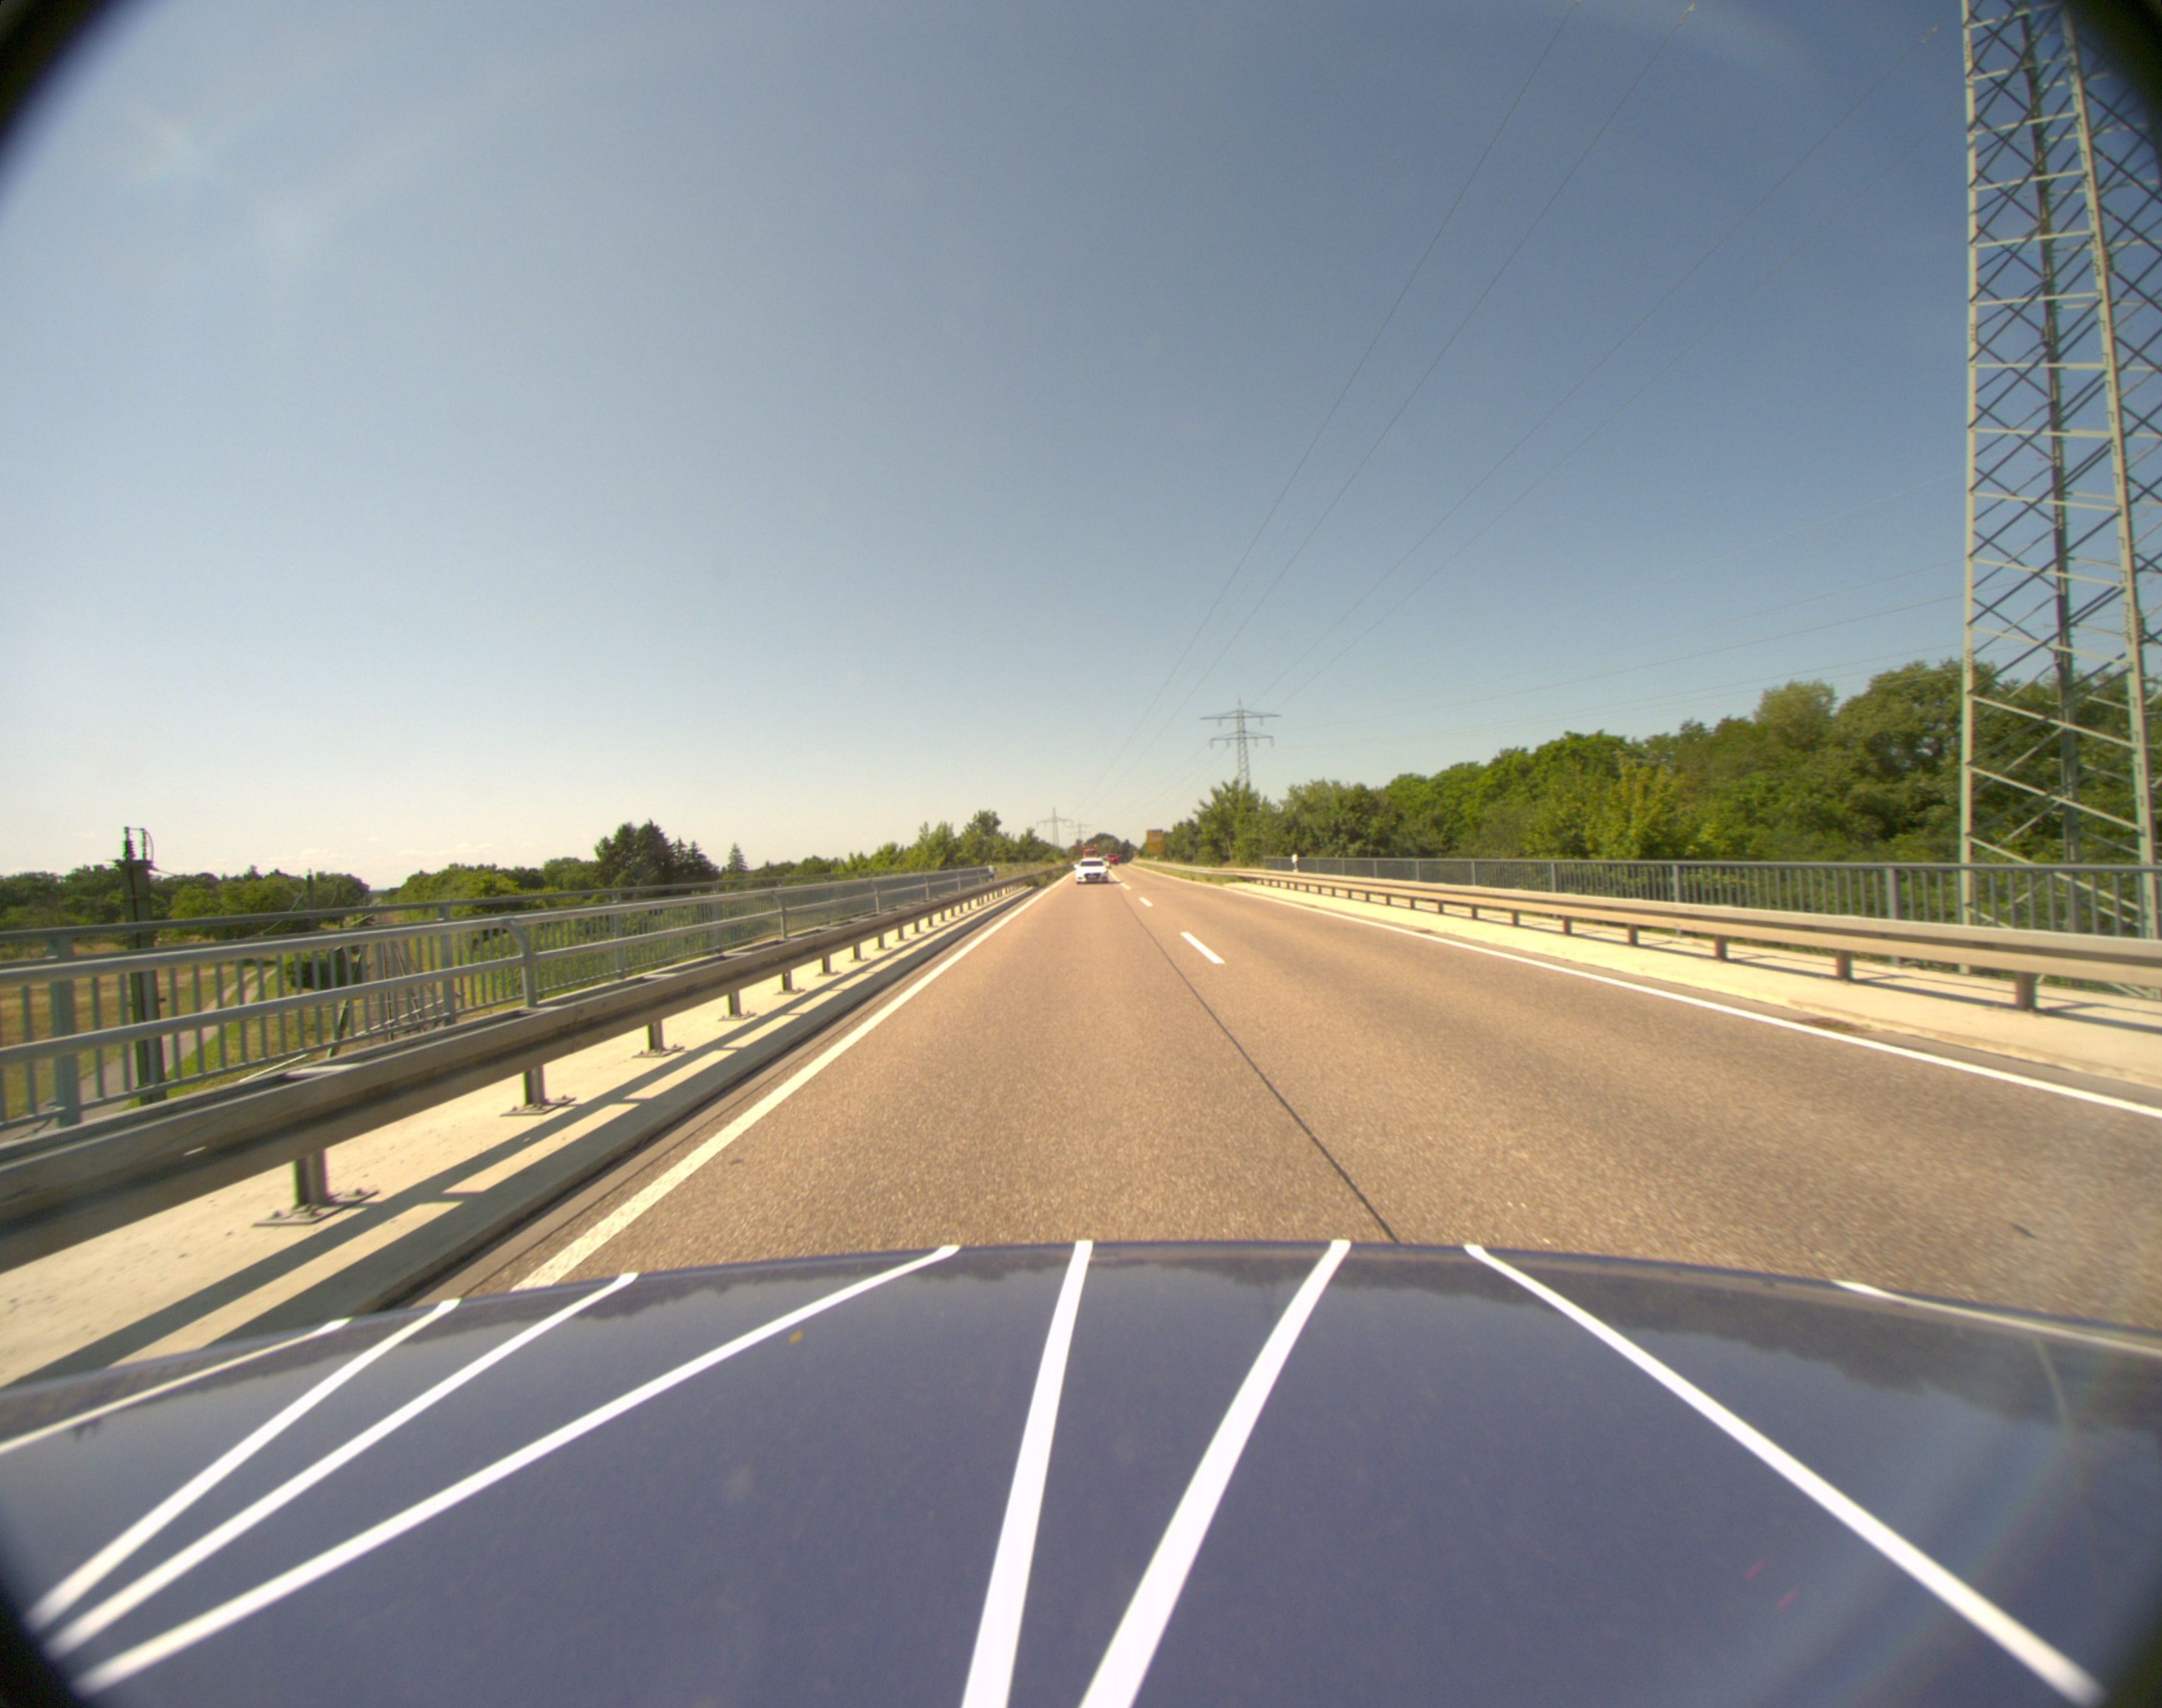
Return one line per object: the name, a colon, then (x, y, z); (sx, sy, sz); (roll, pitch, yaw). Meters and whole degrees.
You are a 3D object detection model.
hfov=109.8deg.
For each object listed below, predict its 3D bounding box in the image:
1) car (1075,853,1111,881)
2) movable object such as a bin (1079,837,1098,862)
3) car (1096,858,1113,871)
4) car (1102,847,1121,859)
car: (0.679, 0.743, 44.839); (1.923, 1.496, 4.793); (-2, 0, 0)
movable object such as a bin: (1.304, -0.717, 124.591); (2.760, 3.817, 9.446); (-2, 0, 1)
car: (2.924, 1.256, 95.038); (1.922, 1.540, 4.794); (-2, 0, 3)
car: (5.244, -0.073, 131.575); (2.128, 1.934, 5.014); (-2, 0, -11)
